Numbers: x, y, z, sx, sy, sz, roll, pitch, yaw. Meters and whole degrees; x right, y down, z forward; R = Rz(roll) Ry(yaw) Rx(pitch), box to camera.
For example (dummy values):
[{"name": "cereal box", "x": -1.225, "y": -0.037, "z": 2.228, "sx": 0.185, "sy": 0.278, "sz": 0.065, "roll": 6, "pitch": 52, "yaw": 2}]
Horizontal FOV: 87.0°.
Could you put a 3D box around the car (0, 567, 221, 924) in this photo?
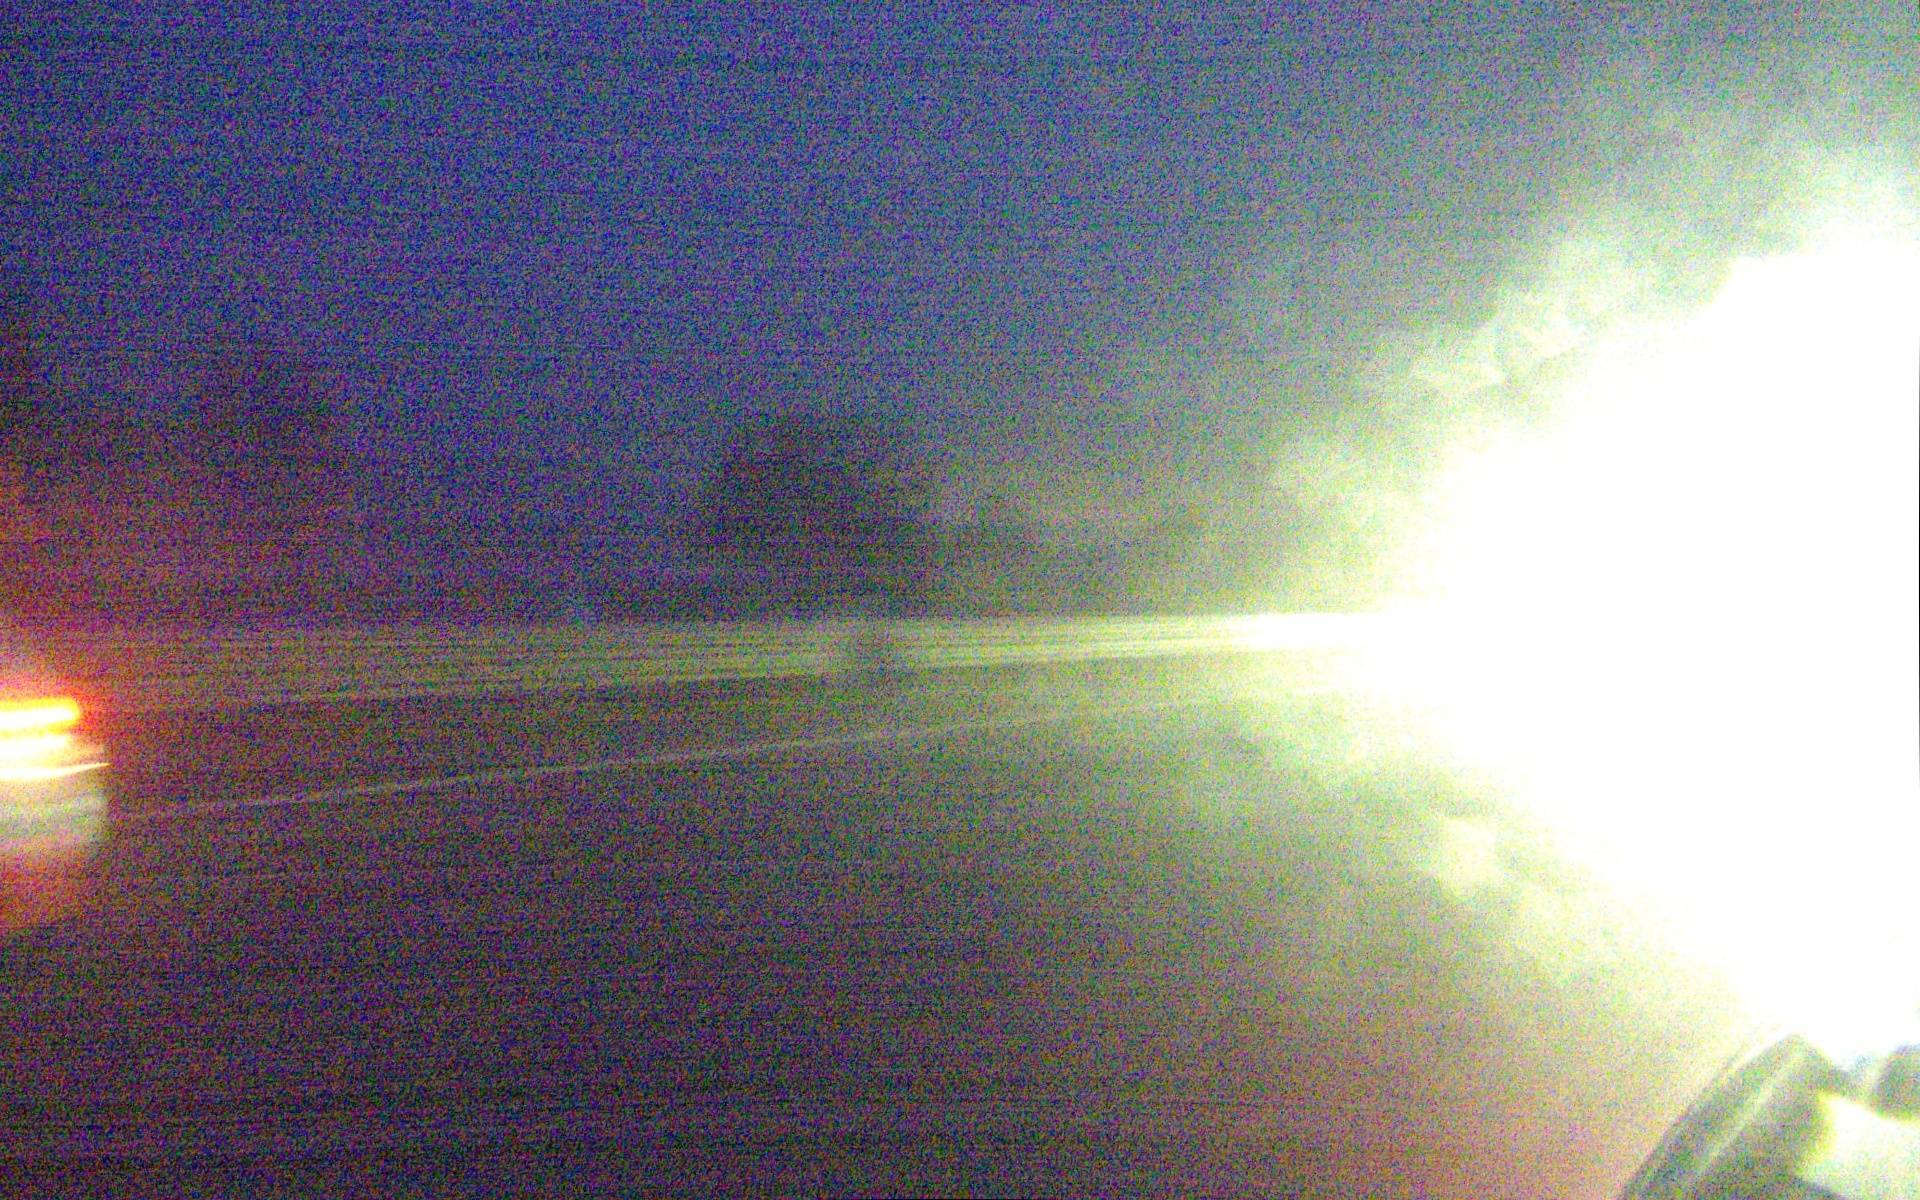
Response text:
[{"name": "car", "x": -5.532, "y": 0.604, "z": 4.109, "sx": 3.945, "sy": 1.521, "sz": 1.642, "roll": 0, "pitch": 1, "yaw": -43}]

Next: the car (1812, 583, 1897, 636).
[{"name": "car", "x": 33.881, "y": 0.371, "z": 38.286, "sx": 4.616, "sy": 1.870, "sz": 1.830, "roll": 1, "pitch": -1, "yaw": -41}]
